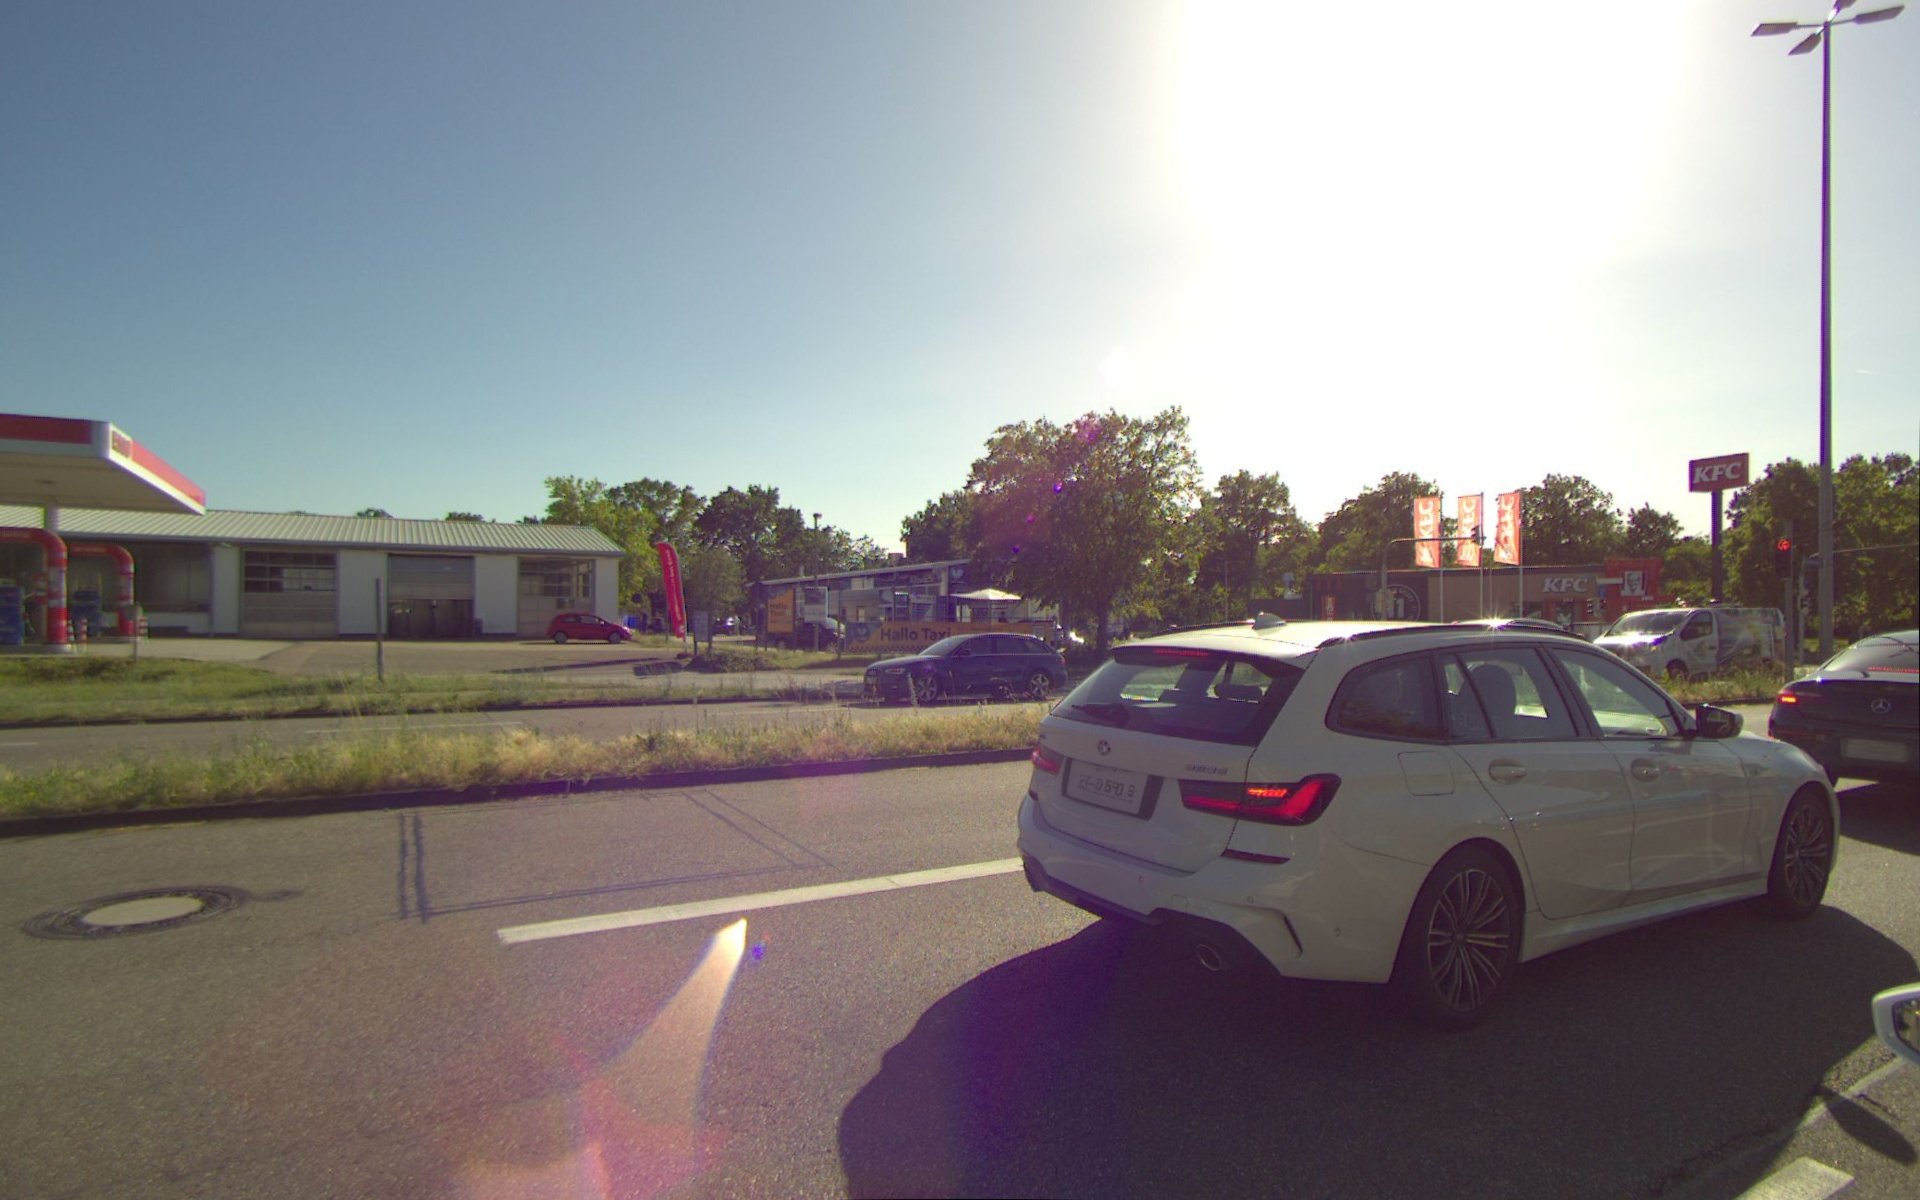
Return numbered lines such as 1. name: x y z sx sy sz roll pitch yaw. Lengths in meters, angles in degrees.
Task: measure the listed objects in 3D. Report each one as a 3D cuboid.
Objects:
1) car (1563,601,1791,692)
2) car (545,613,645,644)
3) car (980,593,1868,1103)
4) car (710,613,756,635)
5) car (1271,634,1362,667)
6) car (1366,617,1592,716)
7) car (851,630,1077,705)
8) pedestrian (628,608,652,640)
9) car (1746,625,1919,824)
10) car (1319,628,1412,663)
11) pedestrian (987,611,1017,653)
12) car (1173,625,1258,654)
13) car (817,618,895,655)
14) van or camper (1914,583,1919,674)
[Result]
1. car: 17.243 1.083 24.172 4.948 2.040 1.992 1 -1 -19
2. car: -17.998 1.404 49.566 4.486 1.458 1.741 1 -1 -26
3. car: 2.428 0.789 4.911 4.409 1.529 1.760 1 -1 -30
4. car: -19.924 2.113 88.265 2.085 1.840 4.000 0 -1 20
5. car: 17.028 2.397 48.172 1.801 1.448 4.022 1 -1 -27
6. car: 10.136 1.220 19.563 4.384 1.712 1.870 1 -1 -30
7. car: 0.110 1.414 21.639 4.551 1.464 1.896 1 -3 -29
8. pedestrian: -18.432 1.366 57.835 1.087 1.787 1.149 1 -1 -31
9. car: 8.806 0.957 8.632 4.409 1.433 1.760 1 -1 -30
10. car: 20.074 2.217 49.862 1.804 1.616 4.016 1 -1 -31
11. pedestrian: 1.884 1.403 44.736 0.916 1.840 1.013 1 -1 -34
12. car: 13.795 2.116 54.530 1.840 1.449 4.700 0 0 -28
13. car: -3.857 1.312 36.937 1.625 1.301 3.122 1 -1 -32
14. van or camper: 30.616 0.840 27.752 5.854 2.686 1.995 0 -1 33
